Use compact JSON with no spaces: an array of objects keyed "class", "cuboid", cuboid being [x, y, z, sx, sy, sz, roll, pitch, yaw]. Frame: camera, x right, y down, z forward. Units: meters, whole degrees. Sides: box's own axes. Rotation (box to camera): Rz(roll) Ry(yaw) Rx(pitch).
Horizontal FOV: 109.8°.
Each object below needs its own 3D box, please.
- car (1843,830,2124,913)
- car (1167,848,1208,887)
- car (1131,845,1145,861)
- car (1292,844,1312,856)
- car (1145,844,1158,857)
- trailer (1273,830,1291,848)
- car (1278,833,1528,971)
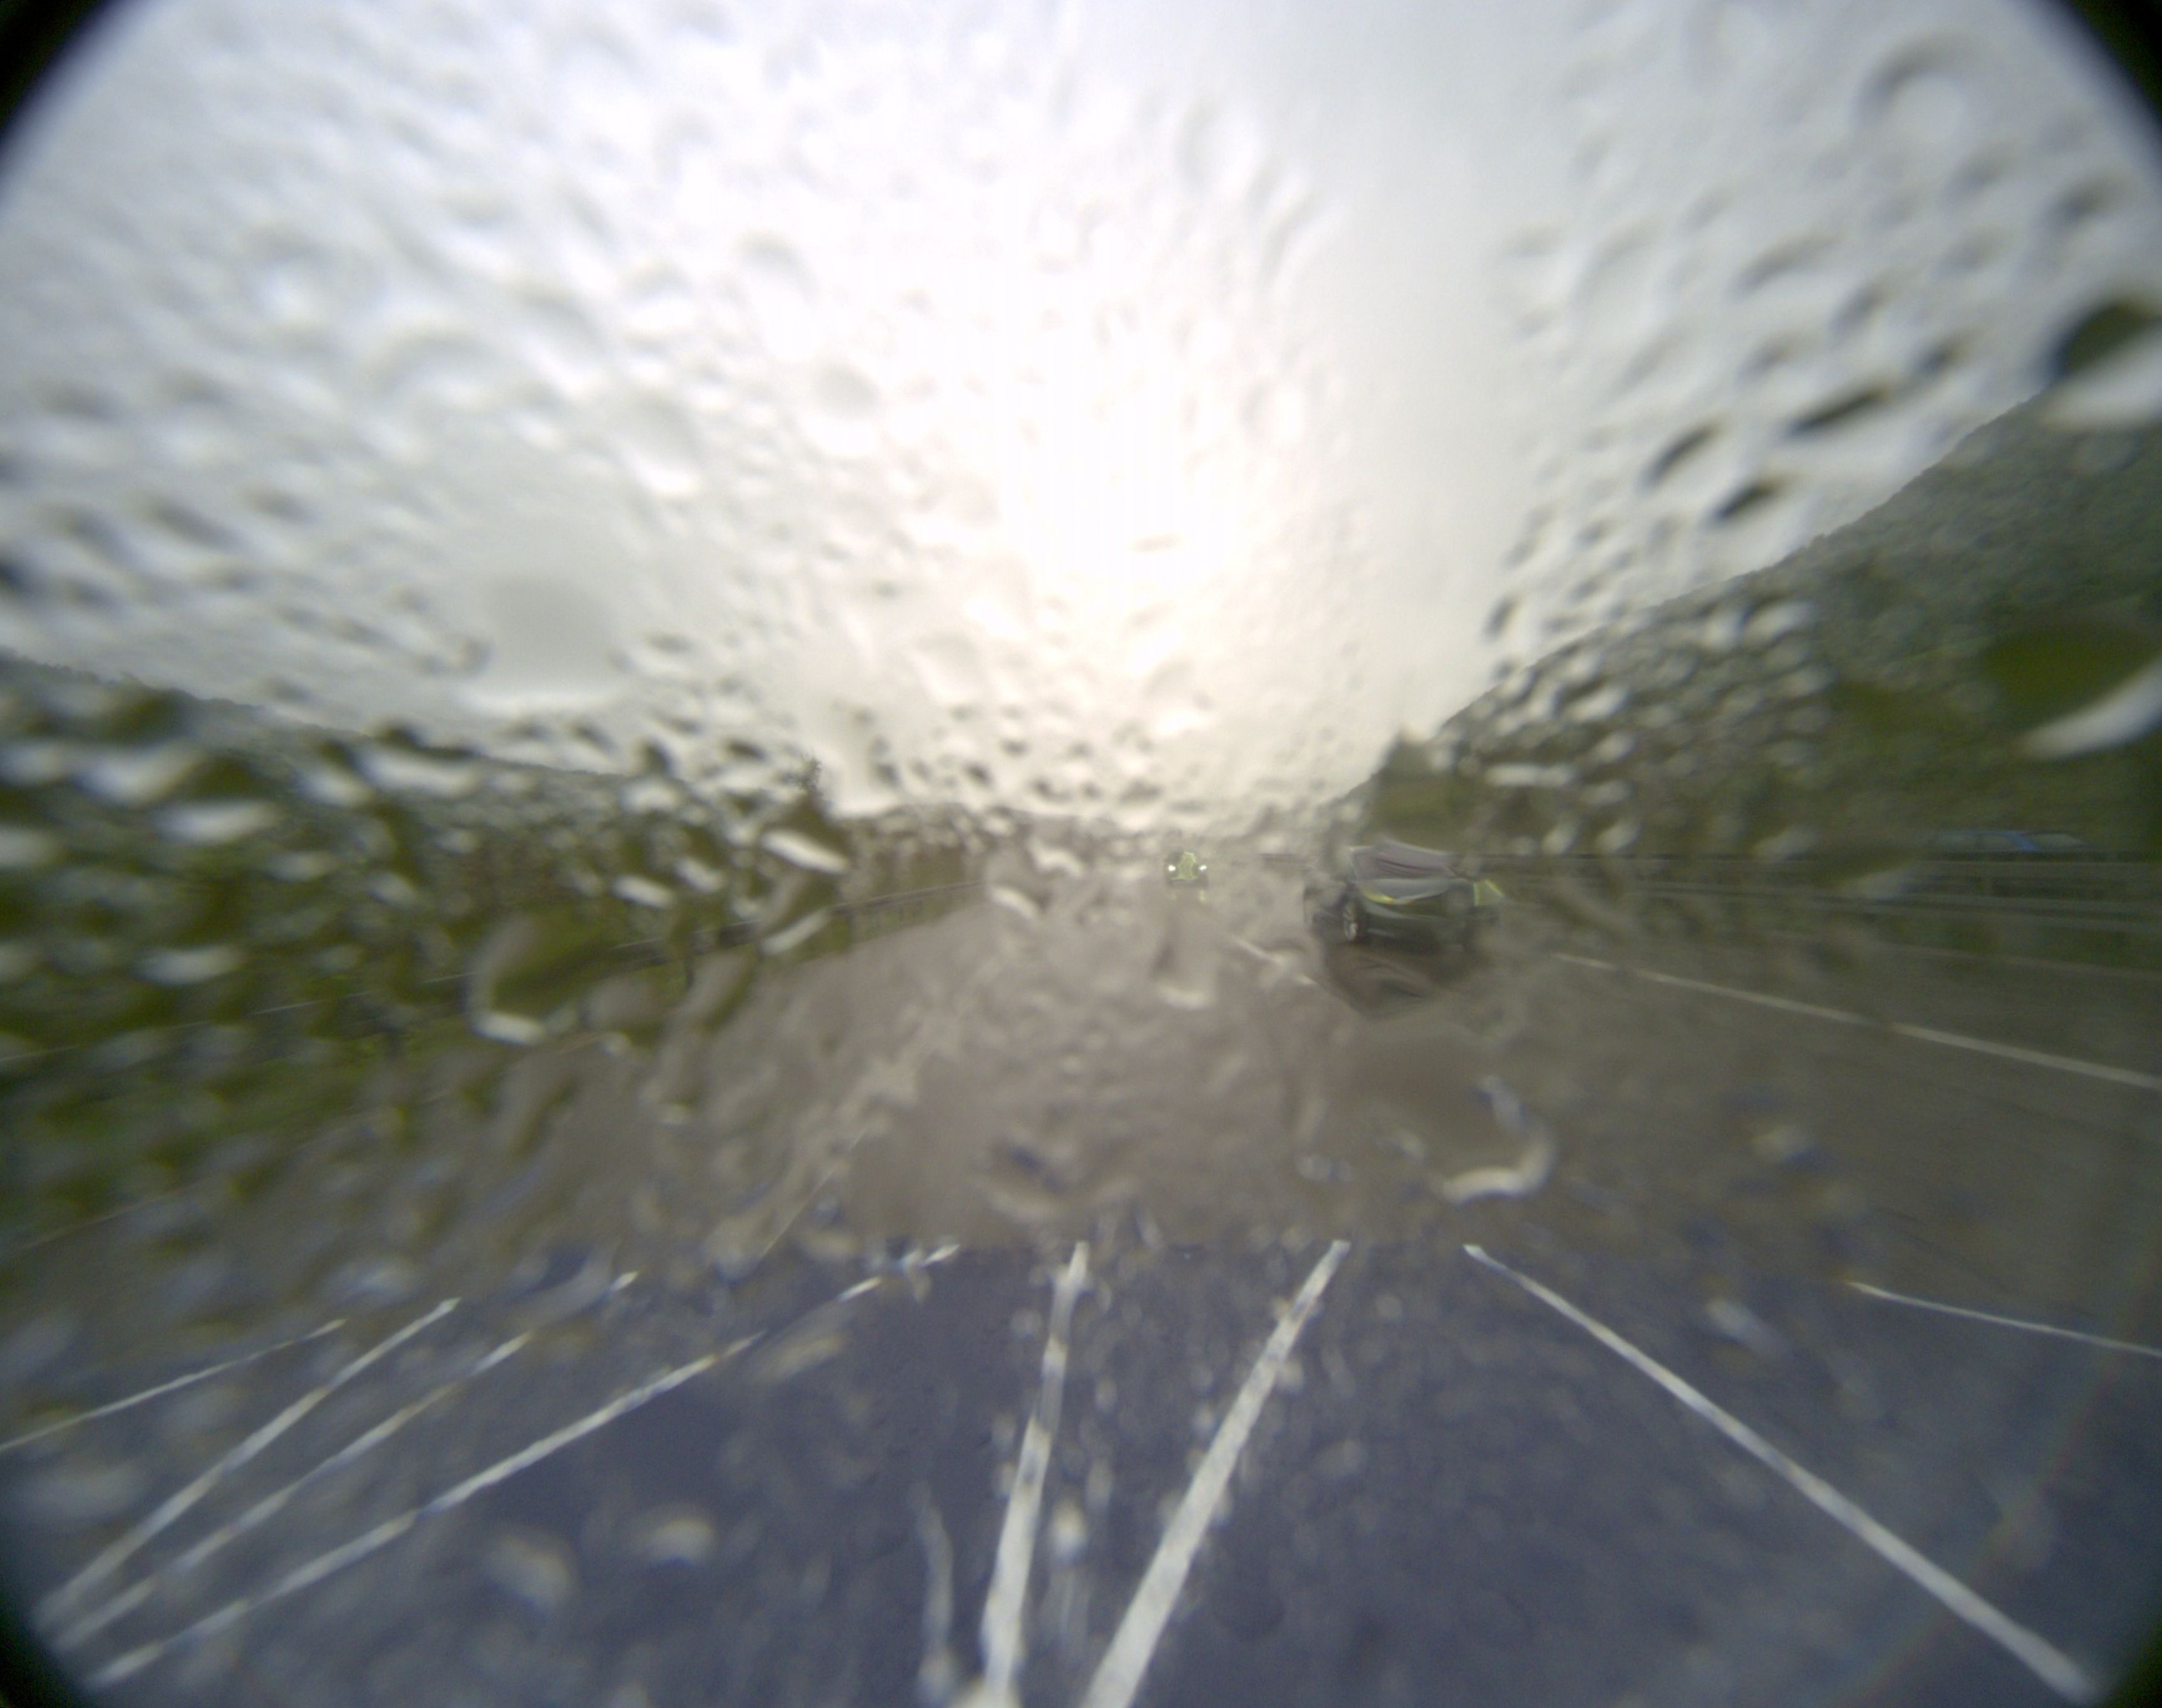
[{"class":"car","cuboid":[20.403,0.345,17.483,1.711,1.637,4.000,-2,0,1]},{"class":"car","cuboid":[5.268,0.642,37.635,1.813,1.692,3.750,-3,1,8]},{"class":"car","cuboid":[7.887,-0.119,105.807,1.835,2.002,3.939,-4,1,4]},{"class":"car","cuboid":[28.699,-0.499,98.855,1.797,1.412,3.777,-2,0,5]},{"class":"car","cuboid":[11.665,-0.543,125.790,1.998,2.001,4.002,-2,-1,3]},{"class":"trailer","cuboid":[44.762,-3.357,169.673,2.818,3.660,13.256,-2,0,11]},{"class":"car","cuboid":[4.833,0.601,12.366,1.998,1.673,4.909,-4,1,1]}]
